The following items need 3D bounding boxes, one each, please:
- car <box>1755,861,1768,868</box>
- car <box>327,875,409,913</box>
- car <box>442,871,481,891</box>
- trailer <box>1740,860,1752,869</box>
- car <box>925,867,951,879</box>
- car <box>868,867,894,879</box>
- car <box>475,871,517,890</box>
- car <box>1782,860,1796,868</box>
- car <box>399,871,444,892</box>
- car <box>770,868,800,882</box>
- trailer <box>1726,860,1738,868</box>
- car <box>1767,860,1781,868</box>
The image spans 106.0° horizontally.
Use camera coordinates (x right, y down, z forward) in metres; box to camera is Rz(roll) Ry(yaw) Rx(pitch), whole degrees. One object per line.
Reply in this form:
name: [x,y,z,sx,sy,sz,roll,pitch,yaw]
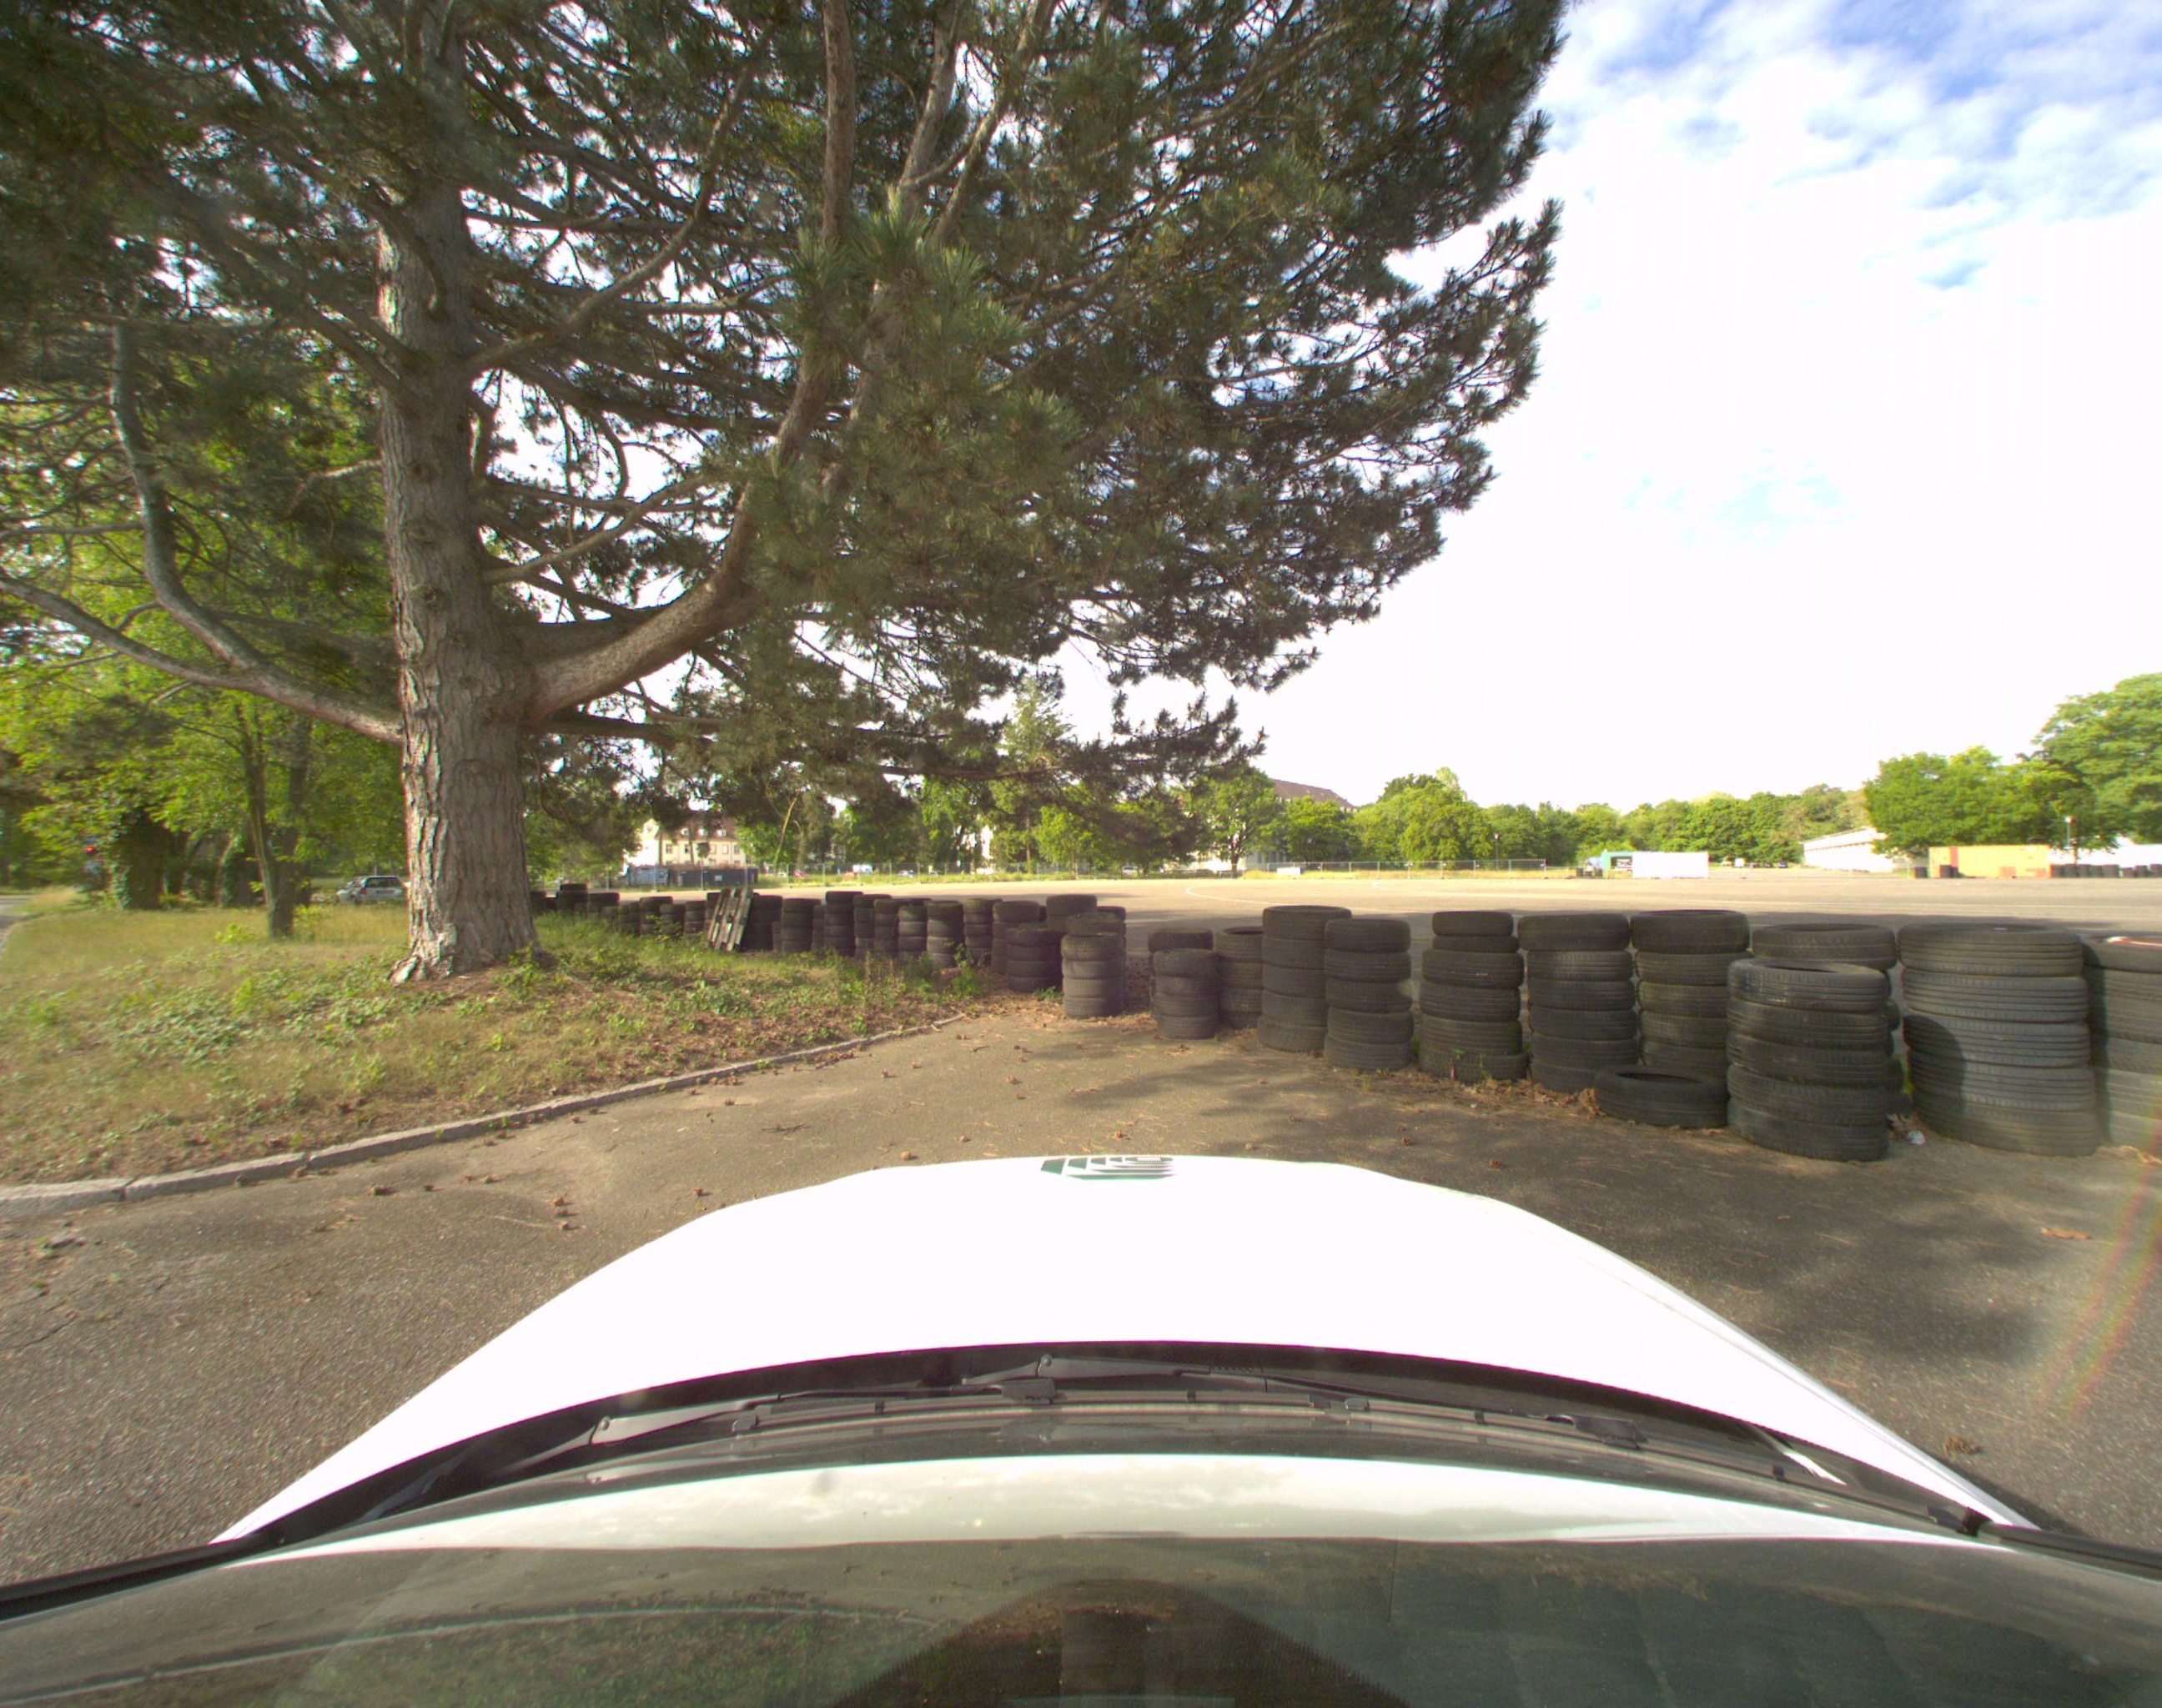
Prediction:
car: [158.330,2.473,189.430,1.974,1.750,4.025,-1,-1,35]
car: [-31.191,1.714,35.584,3.948,1.541,1.904,-1,-1,37]
car: [-52.351,2.279,68.782,3.949,1.618,1.838,-2,-1,41]
trailer: [157.088,2.409,192.480,2.038,2.014,4.025,-1,-1,37]
car: [-21.926,2.931,124.824,2.011,1.750,3.952,0,-1,-42]
car: [-28.661,2.710,116.666,2.011,1.750,3.950,0,-1,-44]
car: [-50.980,2.288,70.959,3.948,1.618,2.013,-2,-1,39]
car: [162.212,2.252,186.671,1.974,1.750,4.025,-1,-1,35]
car: [-53.847,2.257,66.494,3.948,1.618,2.013,-2,-1,39]
car: [-38.130,2.752,104.880,3.949,1.750,2.012,-2,-1,43]
trailer: [155.977,2.421,195.043,1.974,2.014,4.025,-1,-1,36]
car: [160.223,2.399,188.205,2.011,1.809,4.025,-1,-1,35]
